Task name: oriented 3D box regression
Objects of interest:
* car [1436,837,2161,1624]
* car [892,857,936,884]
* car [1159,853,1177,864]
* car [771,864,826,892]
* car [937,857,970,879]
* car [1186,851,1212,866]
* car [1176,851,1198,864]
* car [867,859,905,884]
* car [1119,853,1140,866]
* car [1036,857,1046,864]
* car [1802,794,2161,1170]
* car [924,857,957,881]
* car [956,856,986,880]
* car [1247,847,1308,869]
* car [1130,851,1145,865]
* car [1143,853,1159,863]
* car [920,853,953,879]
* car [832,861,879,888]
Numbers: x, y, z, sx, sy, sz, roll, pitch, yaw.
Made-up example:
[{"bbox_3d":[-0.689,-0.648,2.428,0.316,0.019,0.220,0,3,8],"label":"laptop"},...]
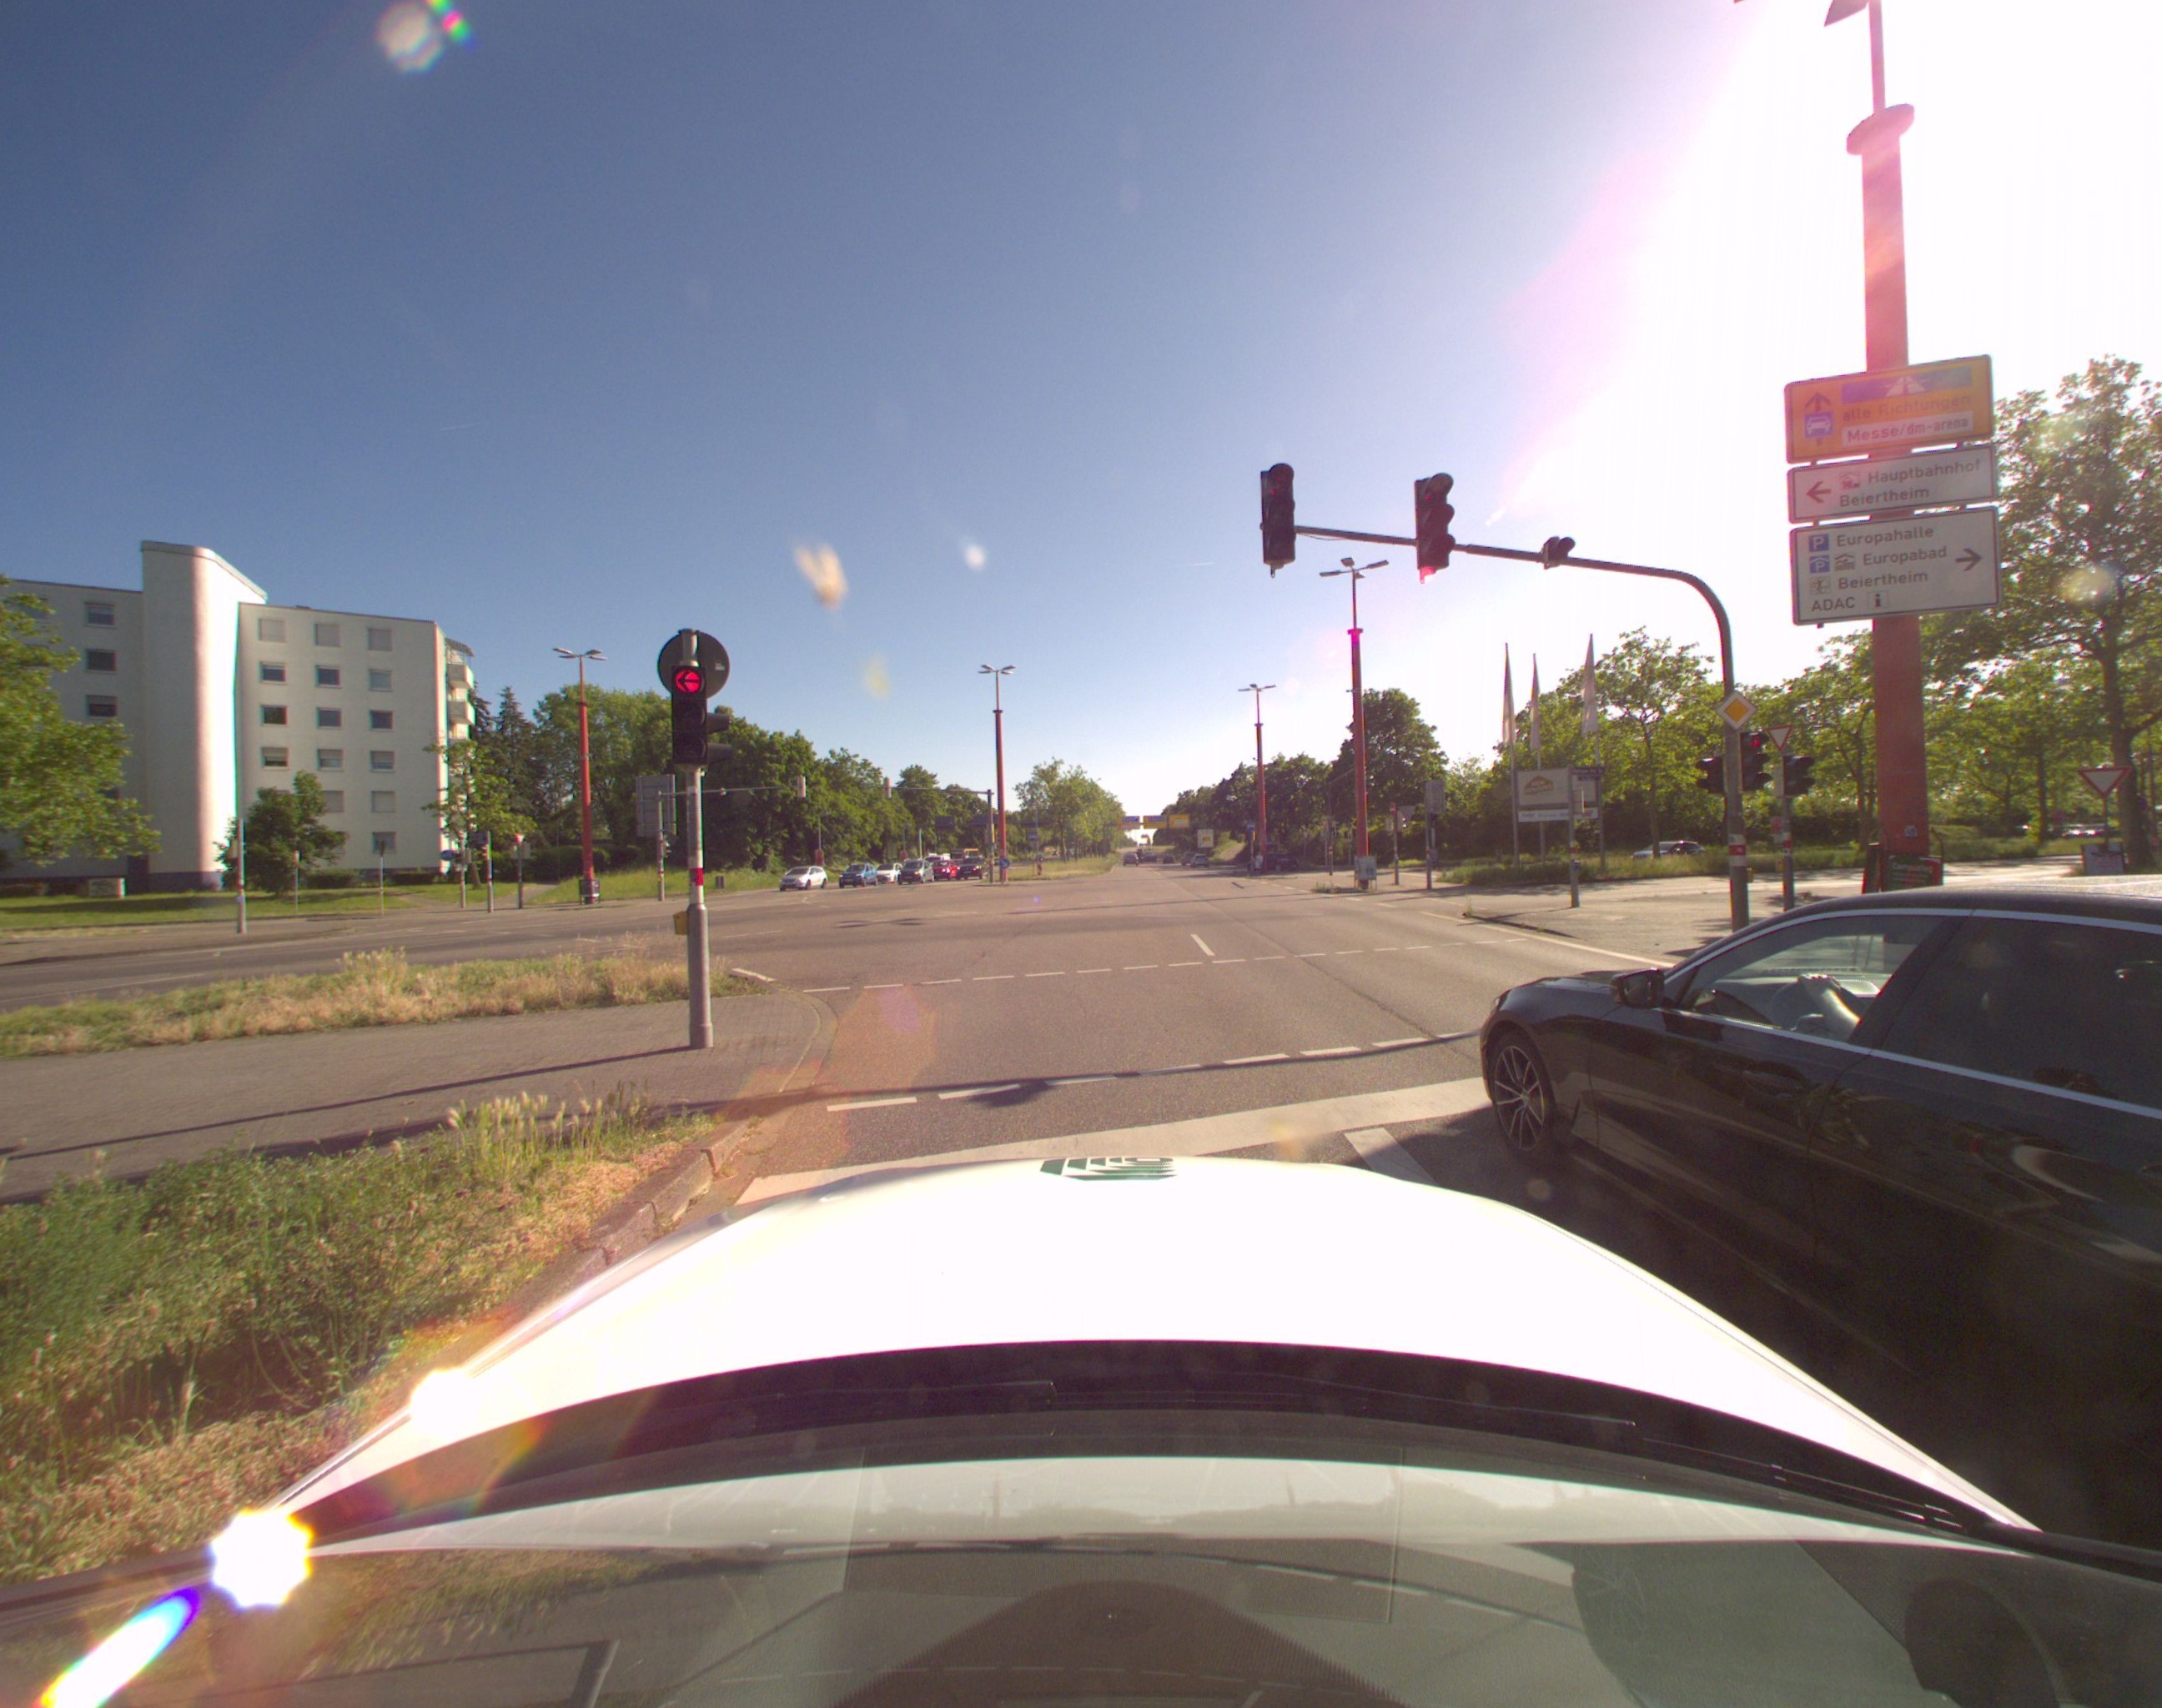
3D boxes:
[{"bbox_3d":[2.958,0.667,2.374,1.986,1.394,4.479,-2,0,2],"label":"car"},{"bbox_3d":[-10.728,1.043,52.581,1.988,1.573,4.119,-2,0,-1],"label":"car"},{"bbox_3d":[12.326,0.644,116.152,1.948,1.442,4.277,-2,0,-2],"label":"car"},{"bbox_3d":[-17.689,1.463,51.182,1.987,1.573,4.120,-2,0,0],"label":"car"},{"bbox_3d":[-10.061,1.089,64.655,1.988,1.573,4.118,-2,0,-1],"label":"car"},{"bbox_3d":[13.050,0.464,90.273,2.153,1.573,4.277,-2,0,-2],"label":"car"},{"bbox_3d":[13.417,0.479,103.372,2.153,1.573,4.277,-2,0,-2],"label":"car"},{"bbox_3d":[-13.734,1.212,57.524,1.991,1.573,4.112,-3,0,-6],"label":"car"},{"bbox_3d":[6.057,0.698,102.341,2.241,1.573,4.276,-2,0,-3],"label":"car"},{"bbox_3d":[-9.090,1.401,186.778,1.987,1.573,4.120,-2,0,0],"label":"car"},{"bbox_3d":[5.805,0.561,3.263,1.959,1.686,4.479,-1,0,2],"label":"car"},{"bbox_3d":[-10.099,1.043,58.873,1.991,1.573,4.112,-2,0,-6],"label":"car"},{"bbox_3d":[-7.561,0.936,56.491,1.874,1.573,4.112,-2,0,-6],"label":"car"},{"bbox_3d":[15.067,0.313,62.634,2.174,1.573,4.237,-2,0,-32],"label":"car"},{"bbox_3d":[8.313,0.577,120.566,1.986,2.013,4.002,-2,0,2],"label":"car"},{"bbox_3d":[11.534,0.646,134.204,2.153,1.573,4.277,-2,0,-2],"label":"car"},{"bbox_3d":[-12.730,1.049,71.987,2.055,2.193,4.377,-2,0,0],"label":"car"},{"bbox_3d":[-14.232,1.281,51.642,1.989,1.573,4.116,-2,0,-3],"label":"car"}]
